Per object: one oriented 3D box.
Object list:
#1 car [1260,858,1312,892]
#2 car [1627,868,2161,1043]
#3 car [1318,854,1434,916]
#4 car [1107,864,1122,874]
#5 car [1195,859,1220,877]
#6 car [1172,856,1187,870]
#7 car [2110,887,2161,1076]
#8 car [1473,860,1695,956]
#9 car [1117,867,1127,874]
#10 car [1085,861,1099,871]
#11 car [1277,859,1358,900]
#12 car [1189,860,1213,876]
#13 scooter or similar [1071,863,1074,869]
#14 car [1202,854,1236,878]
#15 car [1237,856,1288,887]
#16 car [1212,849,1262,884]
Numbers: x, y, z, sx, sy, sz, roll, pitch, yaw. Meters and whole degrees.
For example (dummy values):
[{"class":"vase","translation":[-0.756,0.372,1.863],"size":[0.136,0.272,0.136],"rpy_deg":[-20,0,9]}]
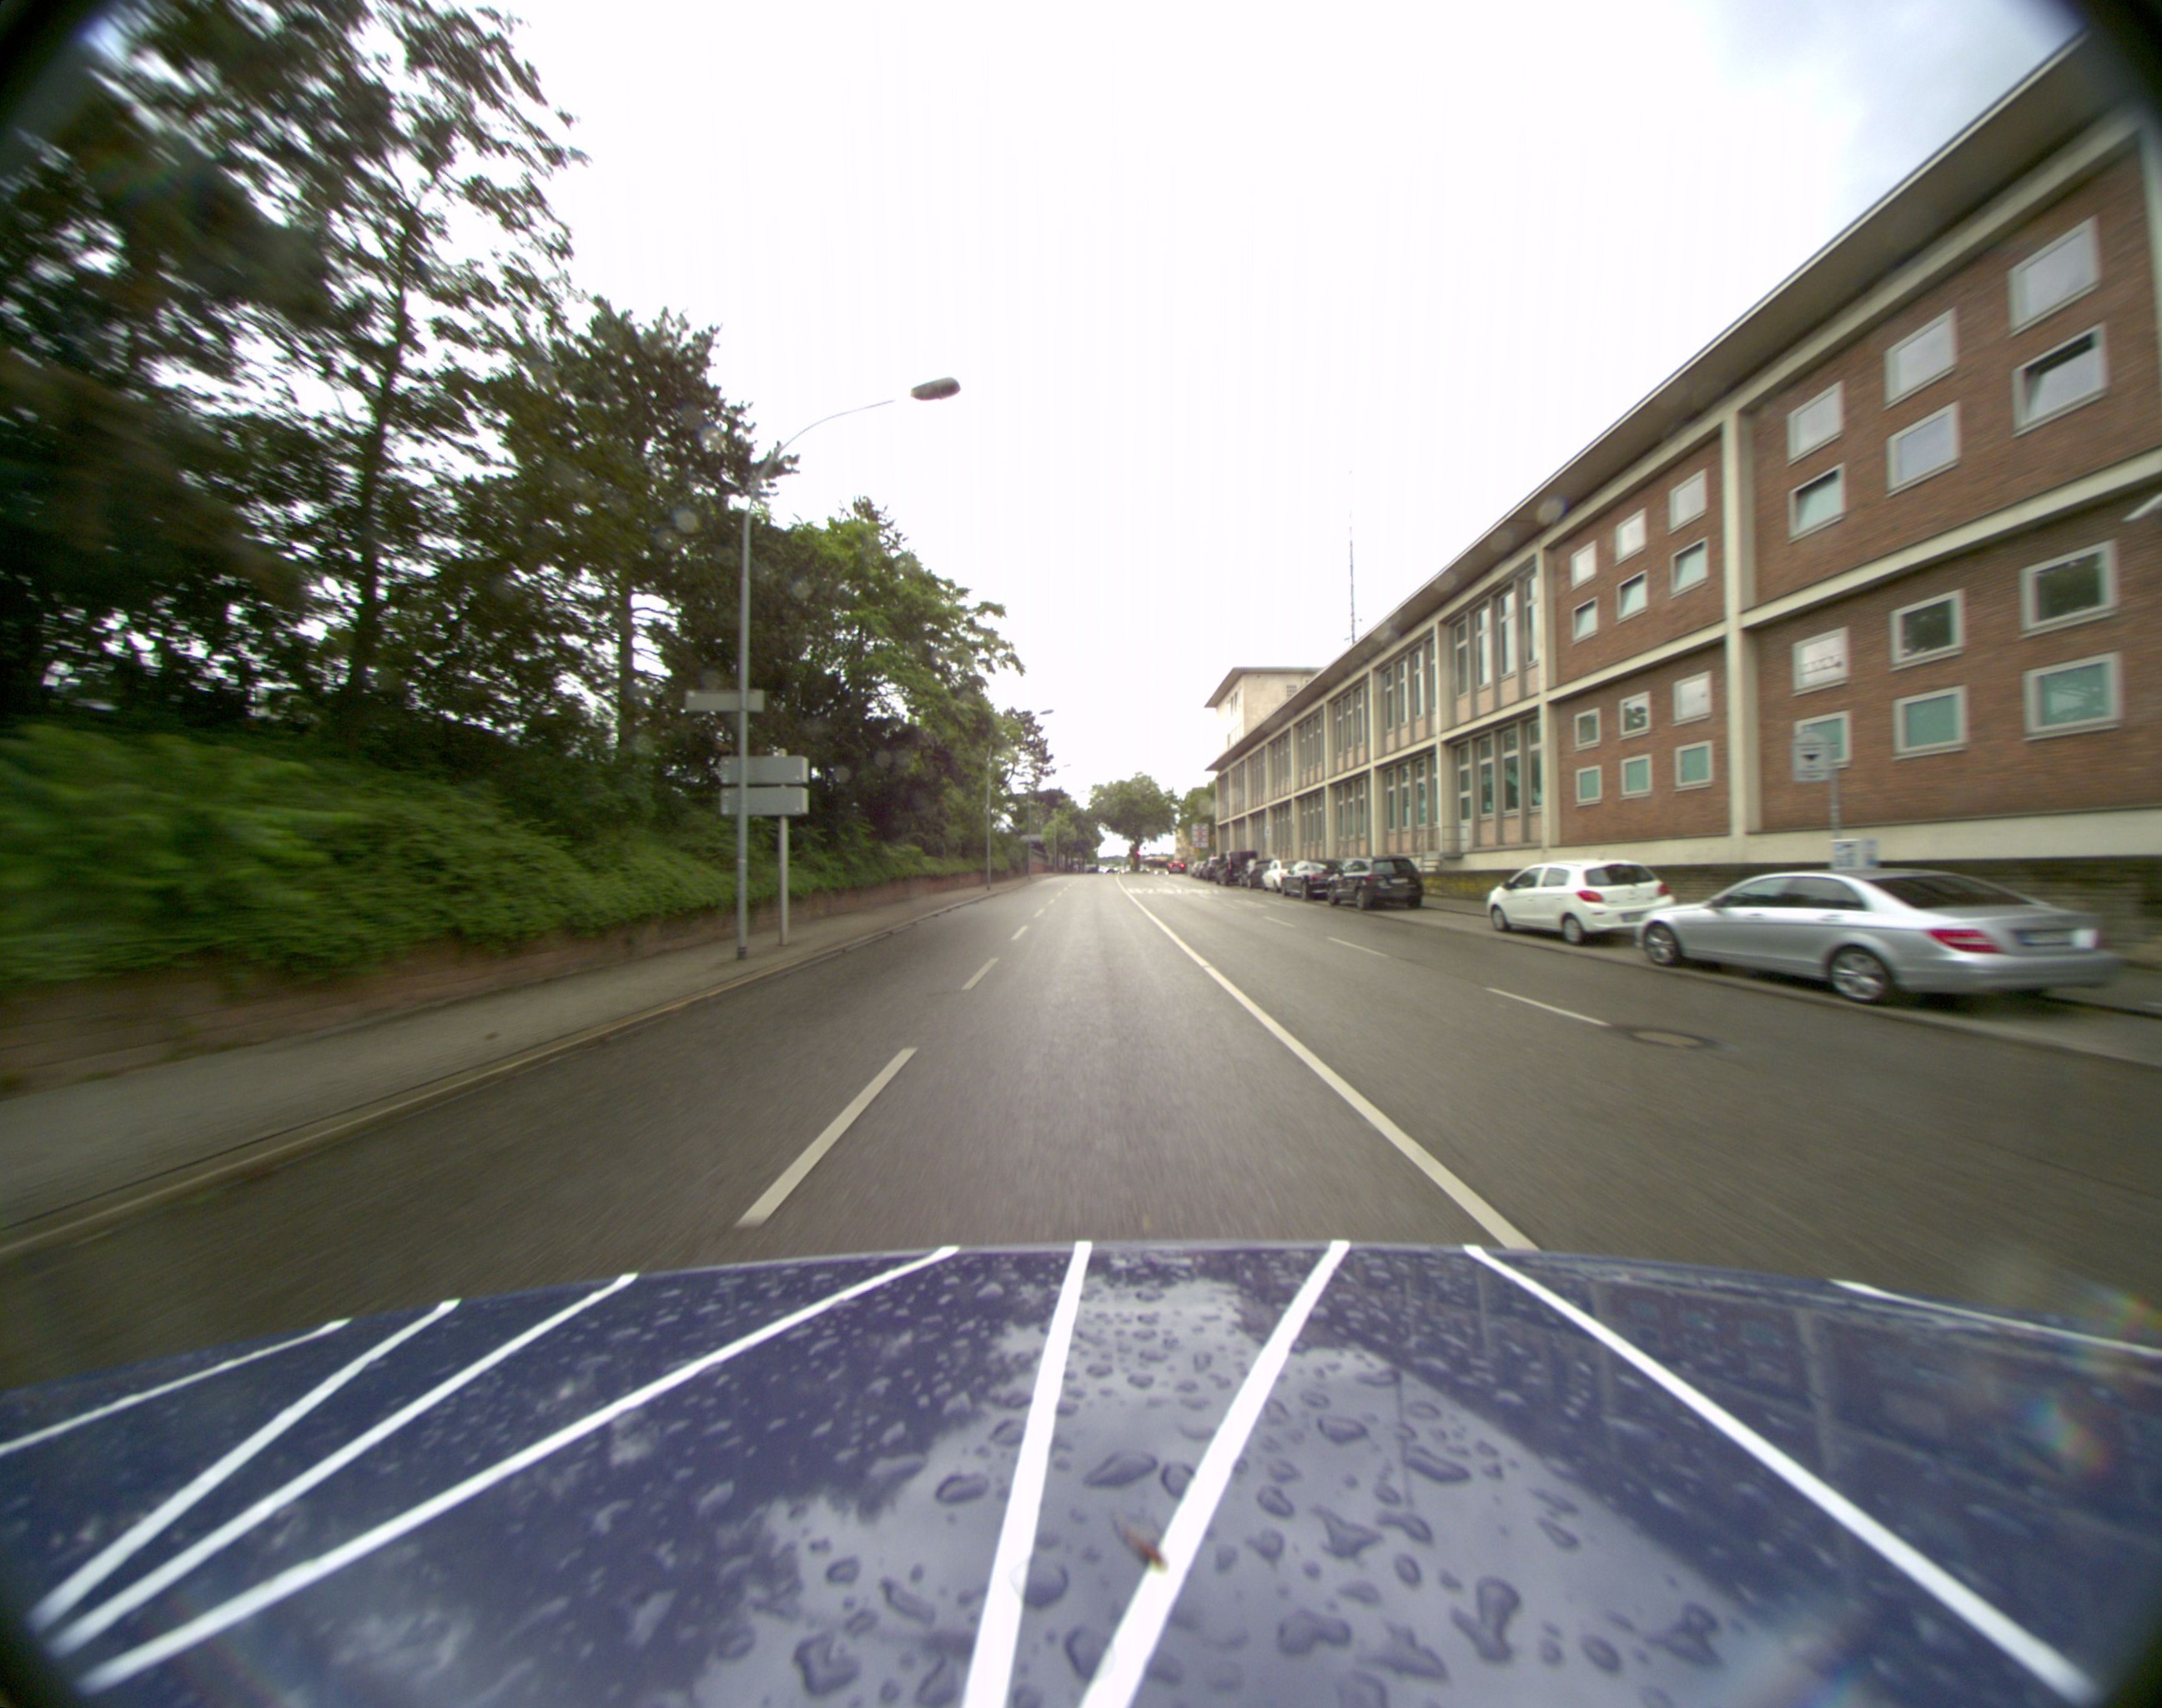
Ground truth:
[{"class":"car","translation":[9.454,0.941,35.309],"size":[1.570,1.475,3.553],"rpy_deg":[0,0,2]},{"class":"car","translation":[9.184,0.980,9.266],"size":[1.752,1.427,4.485],"rpy_deg":[-2,0,-1]},{"class":"car","translation":[9.143,0.883,23.968],"size":[1.846,1.643,4.515],"rpy_deg":[-2,1,0]},{"class":"car","translation":[5.040,2.244,114.099],"size":[1.871,1.465,3.829],"rpy_deg":[1,-1,6]},{"class":"car","translation":[9.883,1.054,59.613],"size":[1.546,1.345,4.112],"rpy_deg":[-1,0,4]},{"class":"car","translation":[12.429,1.147,96.387],"size":[1.825,1.651,4.339],"rpy_deg":[0,0,7]},{"class":"car","translation":[9.267,0.967,4.087],"size":[1.752,1.445,4.181],"rpy_deg":[-2,0,-1]},{"class":"car","translation":[9.408,0.914,14.649],"size":[1.683,1.514,3.920],"rpy_deg":[-1,0,0]},{"class":"car","translation":[8.352,3.328,154.063],"size":[1.983,1.437,3.911],"rpy_deg":[1,-1,5]},{"class":"car","translation":[1.745,1.909,117.465],"size":[1.871,1.465,3.829],"rpy_deg":[1,-1,6]},{"class":"car","translation":[9.181,0.937,29.879],"size":[1.820,1.475,4.910],"rpy_deg":[-1,0,2]},{"class":"car","translation":[10.258,1.141,64.988],"size":[1.695,1.290,4.094],"rpy_deg":[-1,0,4]},{"class":"scooter or similar","translation":[-1.577,2.195,143.867],"size":[0.494,1.146,1.546],"rpy_deg":[1,-1,1]},{"class":"car","translation":[9.768,0.818,54.167],"size":[1.801,1.666,4.604],"rpy_deg":[-1,0,3]},{"class":"car","translation":[9.512,0.894,40.132],"size":[1.865,1.542,4.313],"rpy_deg":[0,0,2]},{"class":"car","translation":[9.250,0.693,45.357],"size":[1.954,1.932,4.996],"rpy_deg":[-1,0,0]}]
